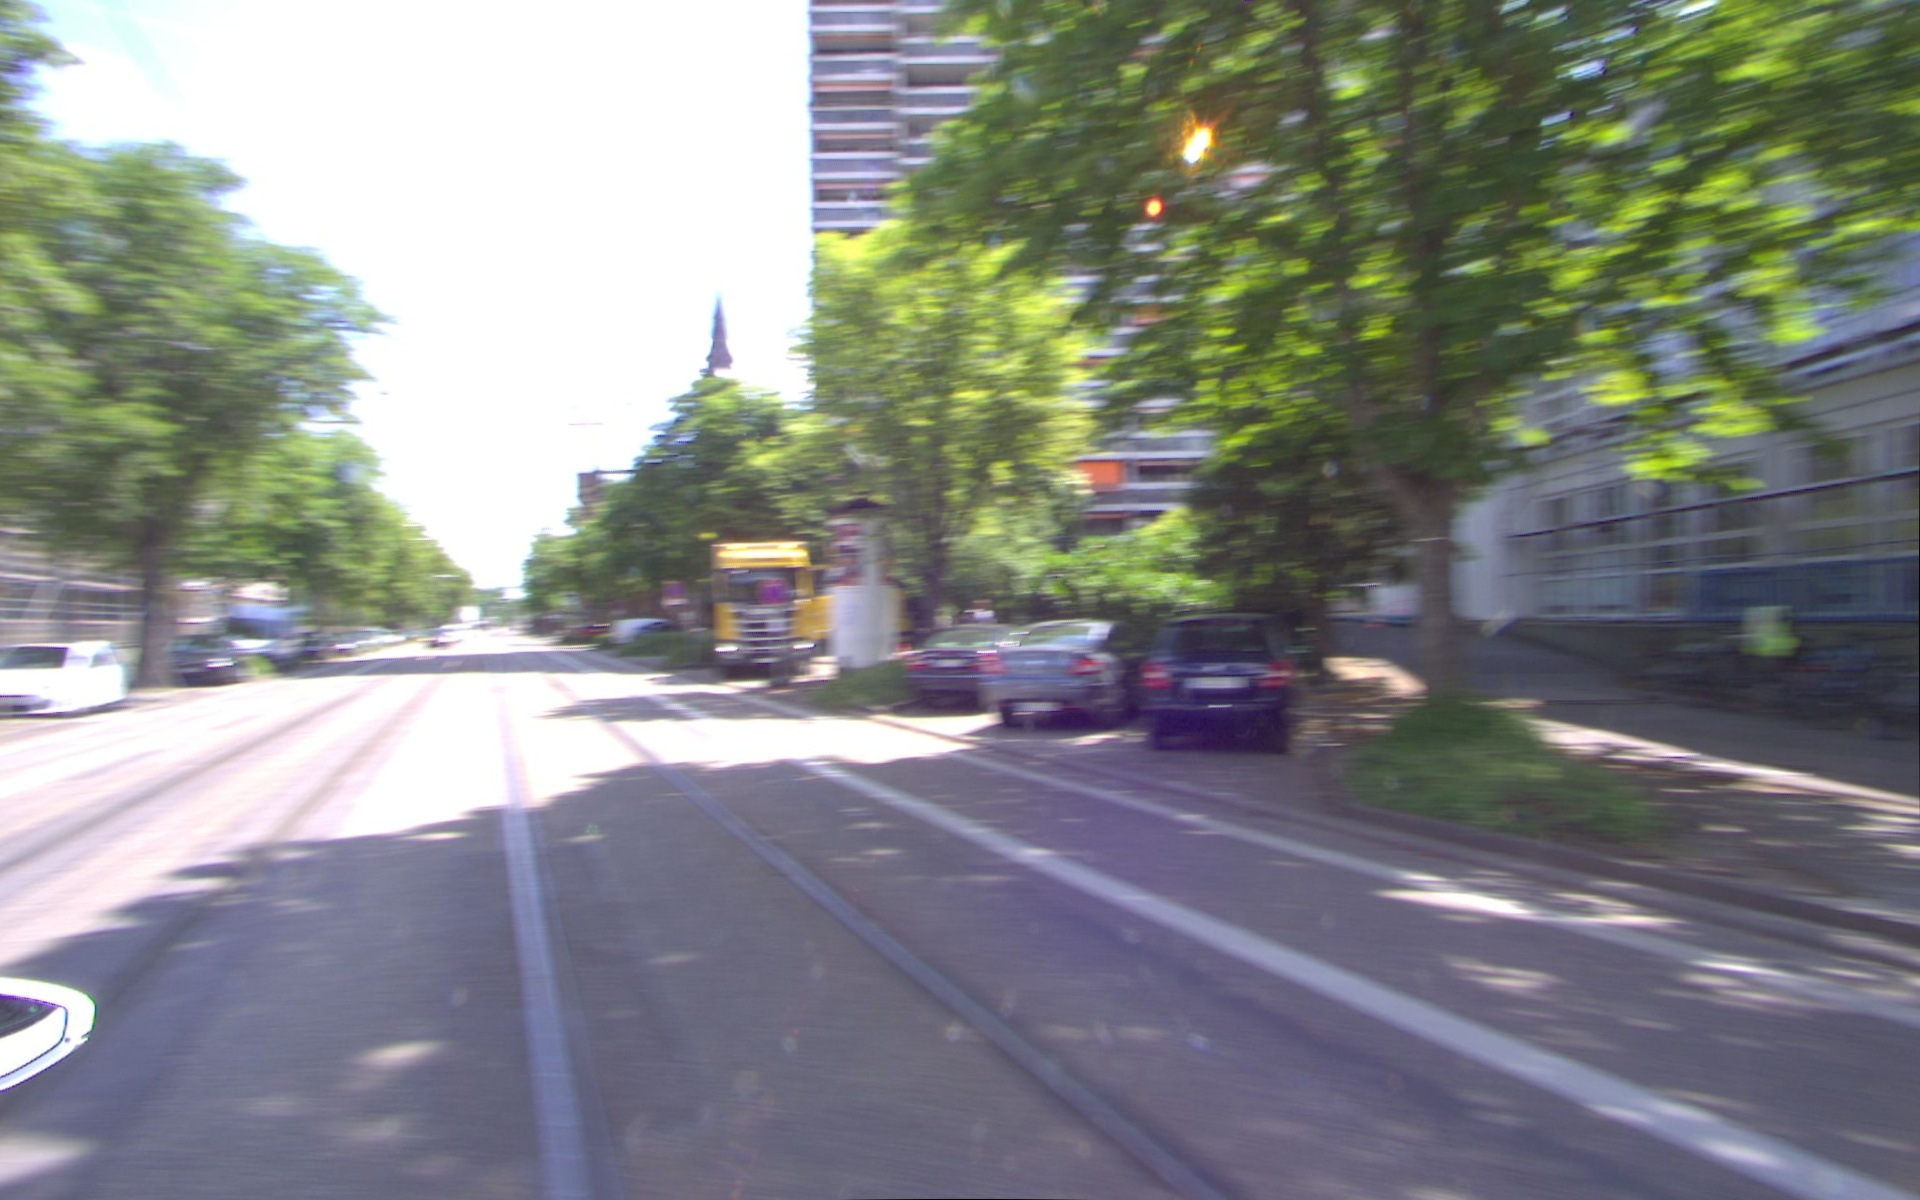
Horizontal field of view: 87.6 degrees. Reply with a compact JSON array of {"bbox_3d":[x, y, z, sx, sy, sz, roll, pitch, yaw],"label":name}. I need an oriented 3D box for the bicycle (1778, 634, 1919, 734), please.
[{"bbox_3d":[10.914,0.980,11.853,1.906,1.145,0.568,0,-1,6],"label":"bicycle"}]

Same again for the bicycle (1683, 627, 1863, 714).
[{"bbox_3d":[10.998,0.942,13.588,1.890,1.145,0.568,0,-1,6],"label":"bicycle"}]

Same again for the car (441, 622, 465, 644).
[{"bbox_3d":[-49.370,3.214,97.590,1.968,2.039,3.986,0,-1,-25],"label":"car"}]

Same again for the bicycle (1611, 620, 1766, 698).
[{"bbox_3d":[10.989,0.885,15.136,1.890,1.145,0.569,0,-1,2],"label":"bicycle"}]

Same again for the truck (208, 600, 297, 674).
[{"bbox_3d":[-26.253,1.348,37.364,1.997,2.517,5.846,0,-1,-28],"label":"truck"}]

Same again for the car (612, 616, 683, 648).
[{"bbox_3d":[-18.419,1.888,59.190,1.806,1.817,3.986,-1,-1,27],"label":"car"}]

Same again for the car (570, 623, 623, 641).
[{"bbox_3d":[-32.086,2.822,88.513,1.978,1.505,3.966,-1,-1,42],"label":"car"}]

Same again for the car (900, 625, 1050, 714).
[{"bbox_3d":[0.396,1.153,17.950,1.601,1.390,4.017,0,-1,18],"label":"car"}]

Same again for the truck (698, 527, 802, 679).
[{"bbox_3d":[-6.425,0.196,31.796,2.699,4.057,9.741,-1,-1,-9],"label":"truck"}]

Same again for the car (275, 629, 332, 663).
[{"bbox_3d":[-30.258,2.079,46.265,1.972,1.475,3.979,0,-1,-30],"label":"car"}]

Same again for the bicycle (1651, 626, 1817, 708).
[{"bbox_3d":[11.072,0.949,14.358,1.890,1.145,0.569,0,-1,2],"label":"bicycle"}]

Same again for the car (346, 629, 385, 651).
[{"bbox_3d":[-41.556,2.781,70.047,1.969,1.505,4.322,0,-1,-25],"label":"car"}]

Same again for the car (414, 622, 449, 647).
[{"bbox_3d":[-37.700,2.453,71.463,1.968,1.711,3.986,0,-1,-25],"label":"car"}]

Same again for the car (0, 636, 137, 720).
[{"bbox_3d":[-17.767,1.458,19.552,1.596,1.458,3.574,0,-1,-21],"label":"car"}]

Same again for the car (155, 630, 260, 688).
[{"bbox_3d":[-22.879,1.733,30.587,1.971,1.627,3.981,1,-2,-29],"label":"car"}]

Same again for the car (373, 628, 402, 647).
[{"bbox_3d":[-48.654,3.161,85.145,1.799,1.594,3.985,0,-1,-26],"label":"car"}]

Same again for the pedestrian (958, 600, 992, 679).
[{"bbox_3d":[0.360,0.947,24.208,0.702,1.899,0.577,0,0,-12],"label":"pedestrian"}]

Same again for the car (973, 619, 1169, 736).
[{"bbox_3d":[1.785,1.028,14.819,1.789,1.482,4.012,-1,-1,24],"label":"car"}]

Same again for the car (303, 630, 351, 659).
[{"bbox_3d":[-34.936,2.405,55.360,1.971,1.505,3.981,0,-1,-29],"label":"car"}]

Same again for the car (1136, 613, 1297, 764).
[{"bbox_3d":[3.188,0.941,12.119,1.620,1.536,3.571,0,-1,18],"label":"car"}]

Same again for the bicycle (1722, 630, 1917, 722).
[{"bbox_3d":[10.981,0.958,12.839,1.906,1.145,0.568,0,-1,6],"label":"bicycle"}]

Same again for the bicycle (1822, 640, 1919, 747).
[{"bbox_3d":[10.780,1.016,11.072,1.906,1.145,0.568,0,-1,6],"label":"bicycle"}]
